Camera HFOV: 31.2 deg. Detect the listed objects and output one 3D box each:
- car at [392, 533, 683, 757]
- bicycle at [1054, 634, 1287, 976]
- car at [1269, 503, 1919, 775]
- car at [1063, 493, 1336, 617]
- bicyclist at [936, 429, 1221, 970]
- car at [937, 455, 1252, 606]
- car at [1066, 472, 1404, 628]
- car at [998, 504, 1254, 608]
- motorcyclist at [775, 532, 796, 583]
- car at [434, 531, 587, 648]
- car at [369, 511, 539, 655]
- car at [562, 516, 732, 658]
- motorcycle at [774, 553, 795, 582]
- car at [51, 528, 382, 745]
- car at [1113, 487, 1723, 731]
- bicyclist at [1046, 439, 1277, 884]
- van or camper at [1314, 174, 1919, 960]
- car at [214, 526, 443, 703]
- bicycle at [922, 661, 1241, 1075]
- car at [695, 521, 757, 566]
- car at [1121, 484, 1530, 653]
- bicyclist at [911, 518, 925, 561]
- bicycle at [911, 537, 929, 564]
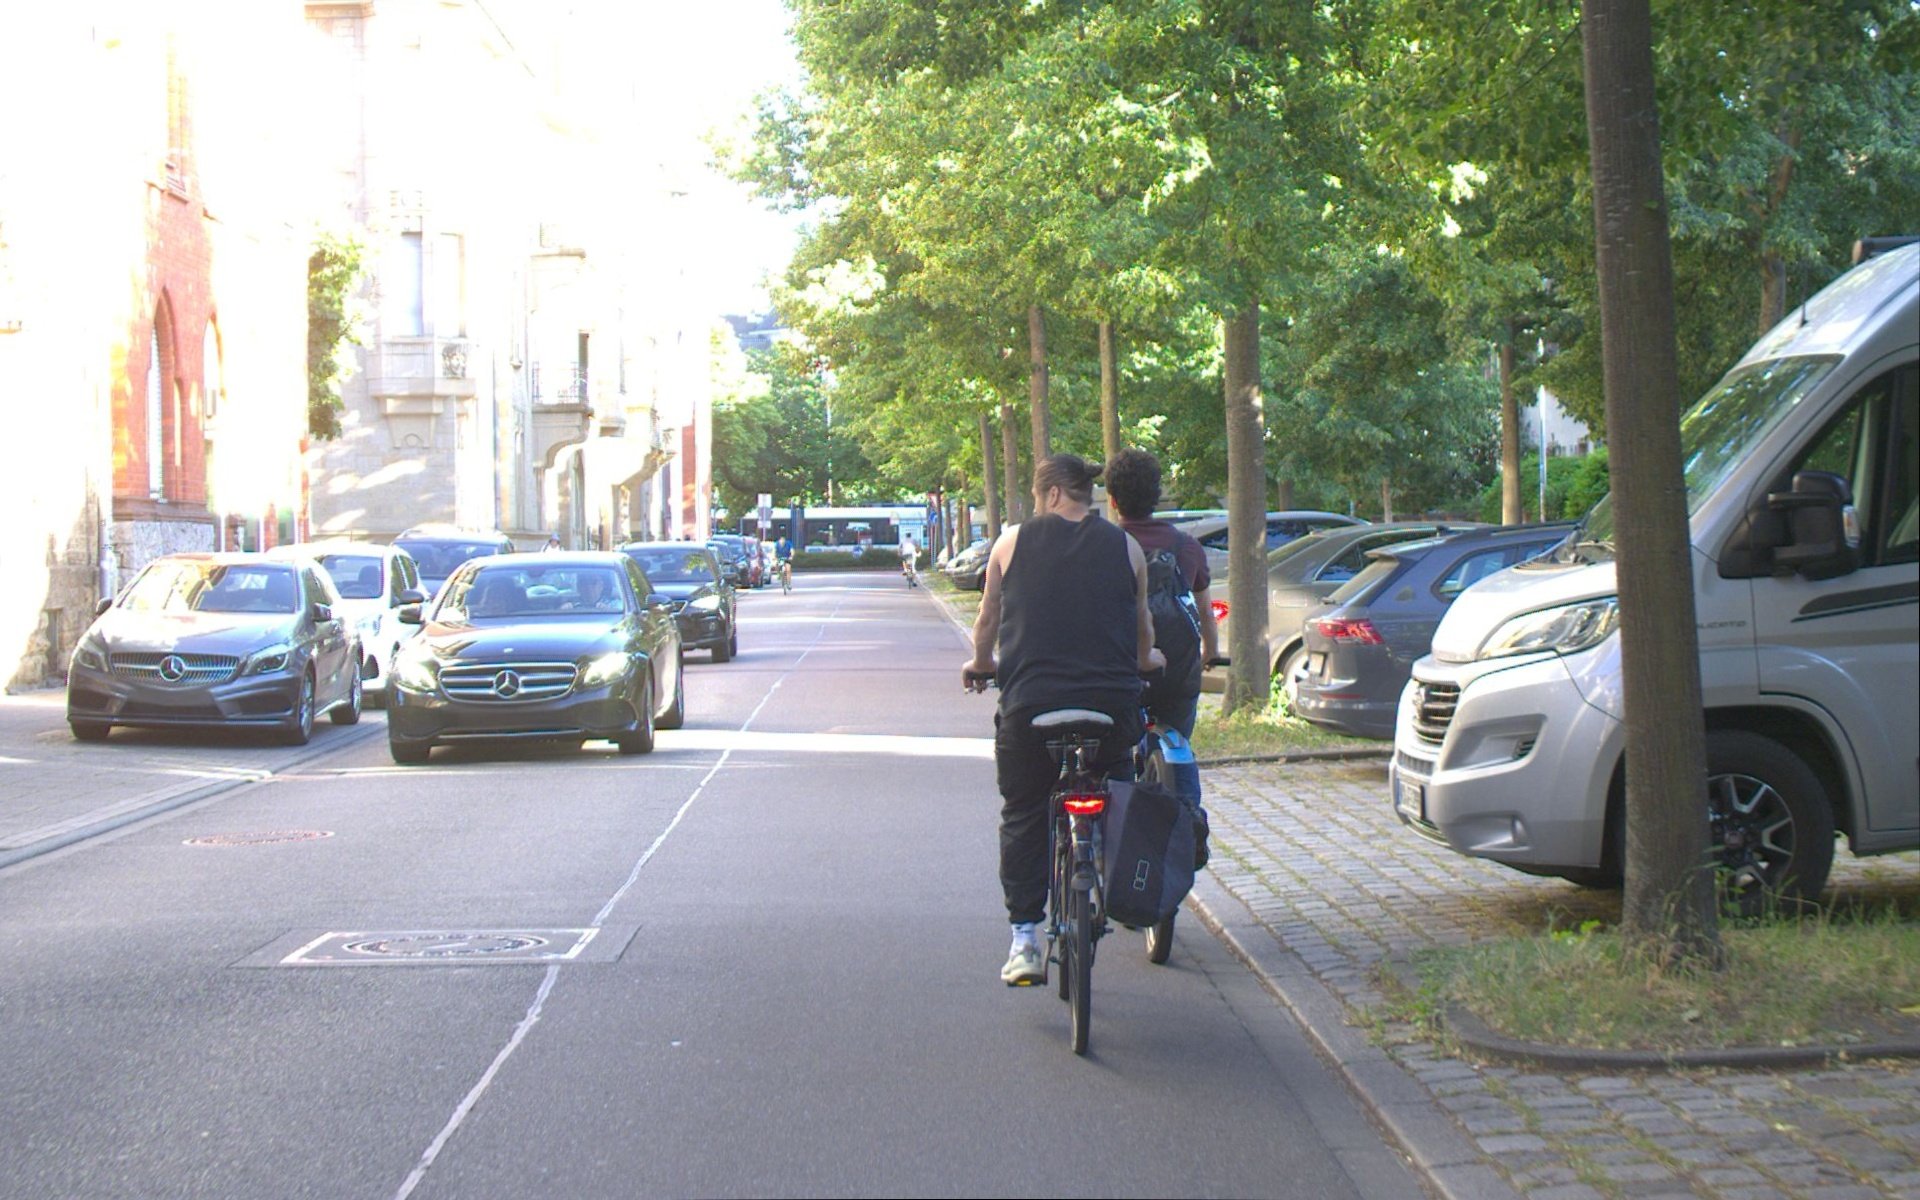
[{"bbox_3d":[-3.042,0.297,25.512,1.896,1.481,4.382,-1,0,-4],"label":"car"},{"bbox_3d":[0.727,0.690,12.406,0.555,1.069,1.969,-1,1,-4],"label":"bicycle"},{"bbox_3d":[4.183,0.200,20.427,4.502,1.448,1.816,-2,0,0],"label":"car"},{"bbox_3d":[3.846,-0.720,55.761,4.243,1.791,1.855,-2,0,0],"label":"car"},{"bbox_3d":[0.334,0.278,10.235,0.706,1.521,0.972,-1,0,-5],"label":"bicyclist"},{"bbox_3d":[3.198,-1.647,82.607,7.333,3.271,2.223,-2,0,0],"label":"car"},{"bbox_3d":[3.577,-0.646,45.284,4.243,1.833,1.855,-2,0,0],"label":"car"},{"bbox_3d":[3.143,-0.838,65.904,4.757,1.773,1.855,-2,0,0],"label":"car"},{"bbox_3d":[-5.047,-1.235,99.475,0.551,1.443,0.688,-2,1,-4],"label":"motorcyclist"},{"bbox_3d":[-6.183,-0.168,47.656,1.615,1.477,4.019,3,1,-1],"label":"car"},{"bbox_3d":[-6.156,-0.209,42.188,1.630,1.660,3.969,-1,0,-2],"label":"car"},{"bbox_3d":[-3.905,-0.183,43.457,1.767,1.594,4.090,-4,1,-1],"label":"car"},{"bbox_3d":[-5.079,-0.936,99.476,0.551,0.798,1.308,-2,1,-4],"label":"motorcycle"},{"bbox_3d":[-5.804,0.243,27.309,1.755,1.512,4.115,3,1,-1],"label":"car"},{"bbox_3d":[3.398,0.057,25.993,4.242,1.600,1.754,-2,0,-4],"label":"car"},{"bbox_3d":[0.708,0.210,12.355,0.718,1.521,0.972,-1,0,-2],"label":"bicyclist"},{"bbox_3d":[4.315,-0.232,12.693,5.573,2.528,2.269,-3,0,-3],"label":"van or camper"},{"bbox_3d":[-5.942,0.107,32.682,1.491,1.512,3.775,3,1,-1],"label":"car"},{"bbox_3d":[0.322,0.745,10.336,0.696,1.069,1.969,-1,0,-5],"label":"bicycle"},{"bbox_3d":[-8.313,-2.000,122.298,1.993,1.525,4.000,-1,0,-1],"label":"car"},{"bbox_3d":[3.969,-0.347,37.879,4.243,1.641,1.855,-2,0,0],"label":"car"},{"bbox_3d":[-1.317,-1.904,108.563,0.417,1.346,0.430,-1,0,-1],"label":"bicyclist"},{"bbox_3d":[-1.277,-1.569,108.512,0.541,0.825,1.919,-1,0,-1],"label":"bicycle"}]
